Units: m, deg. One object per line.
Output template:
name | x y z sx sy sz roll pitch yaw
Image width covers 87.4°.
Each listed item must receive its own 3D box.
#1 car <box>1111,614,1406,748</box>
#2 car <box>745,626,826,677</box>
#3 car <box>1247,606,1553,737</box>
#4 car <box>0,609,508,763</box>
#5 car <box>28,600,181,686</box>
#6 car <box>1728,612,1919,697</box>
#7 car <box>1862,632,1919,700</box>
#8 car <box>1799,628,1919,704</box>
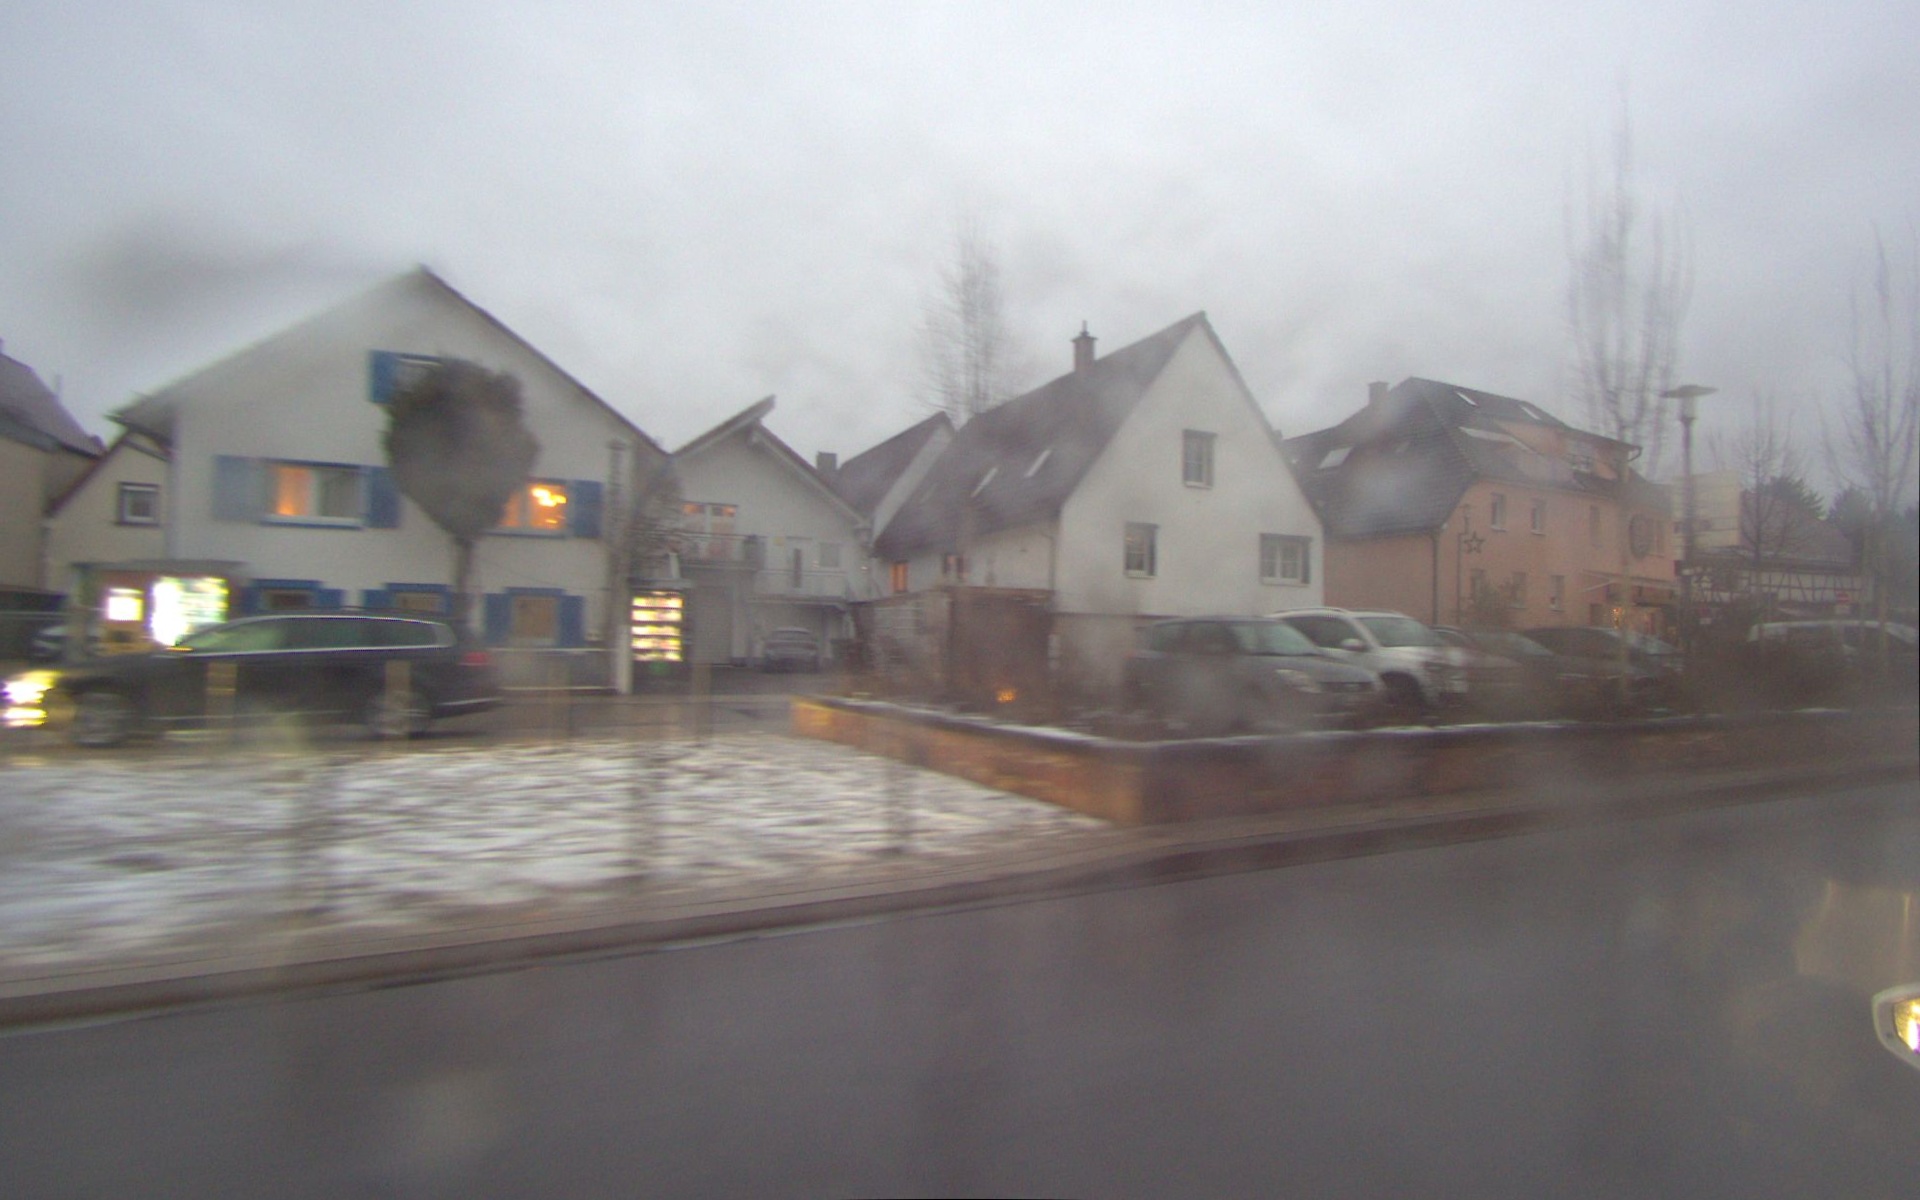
car | 3.565 0.893 12.547 1.581 1.390 3.430 1 -1 -29
car | -5.761 1.640 32.786 1.890 1.516 3.924 3 -2 -21
car | 5.869 0.885 13.904 1.690 1.543 3.787 2 -1 -21
car | -7.748 0.897 11.655 4.512 1.502 1.796 1 -2 -27
car | -21.879 1.133 25.869 1.810 2.045 3.567 1 -3 -20
car | 19.884 1.160 21.895 1.977 1.689 4.603 2 -1 -30
car | 24.938 1.660 24.448 1.635 1.665 4.156 2 -1 -24
car | 22.309 1.539 23.209 1.656 1.674 4.187 2 -1 -24
